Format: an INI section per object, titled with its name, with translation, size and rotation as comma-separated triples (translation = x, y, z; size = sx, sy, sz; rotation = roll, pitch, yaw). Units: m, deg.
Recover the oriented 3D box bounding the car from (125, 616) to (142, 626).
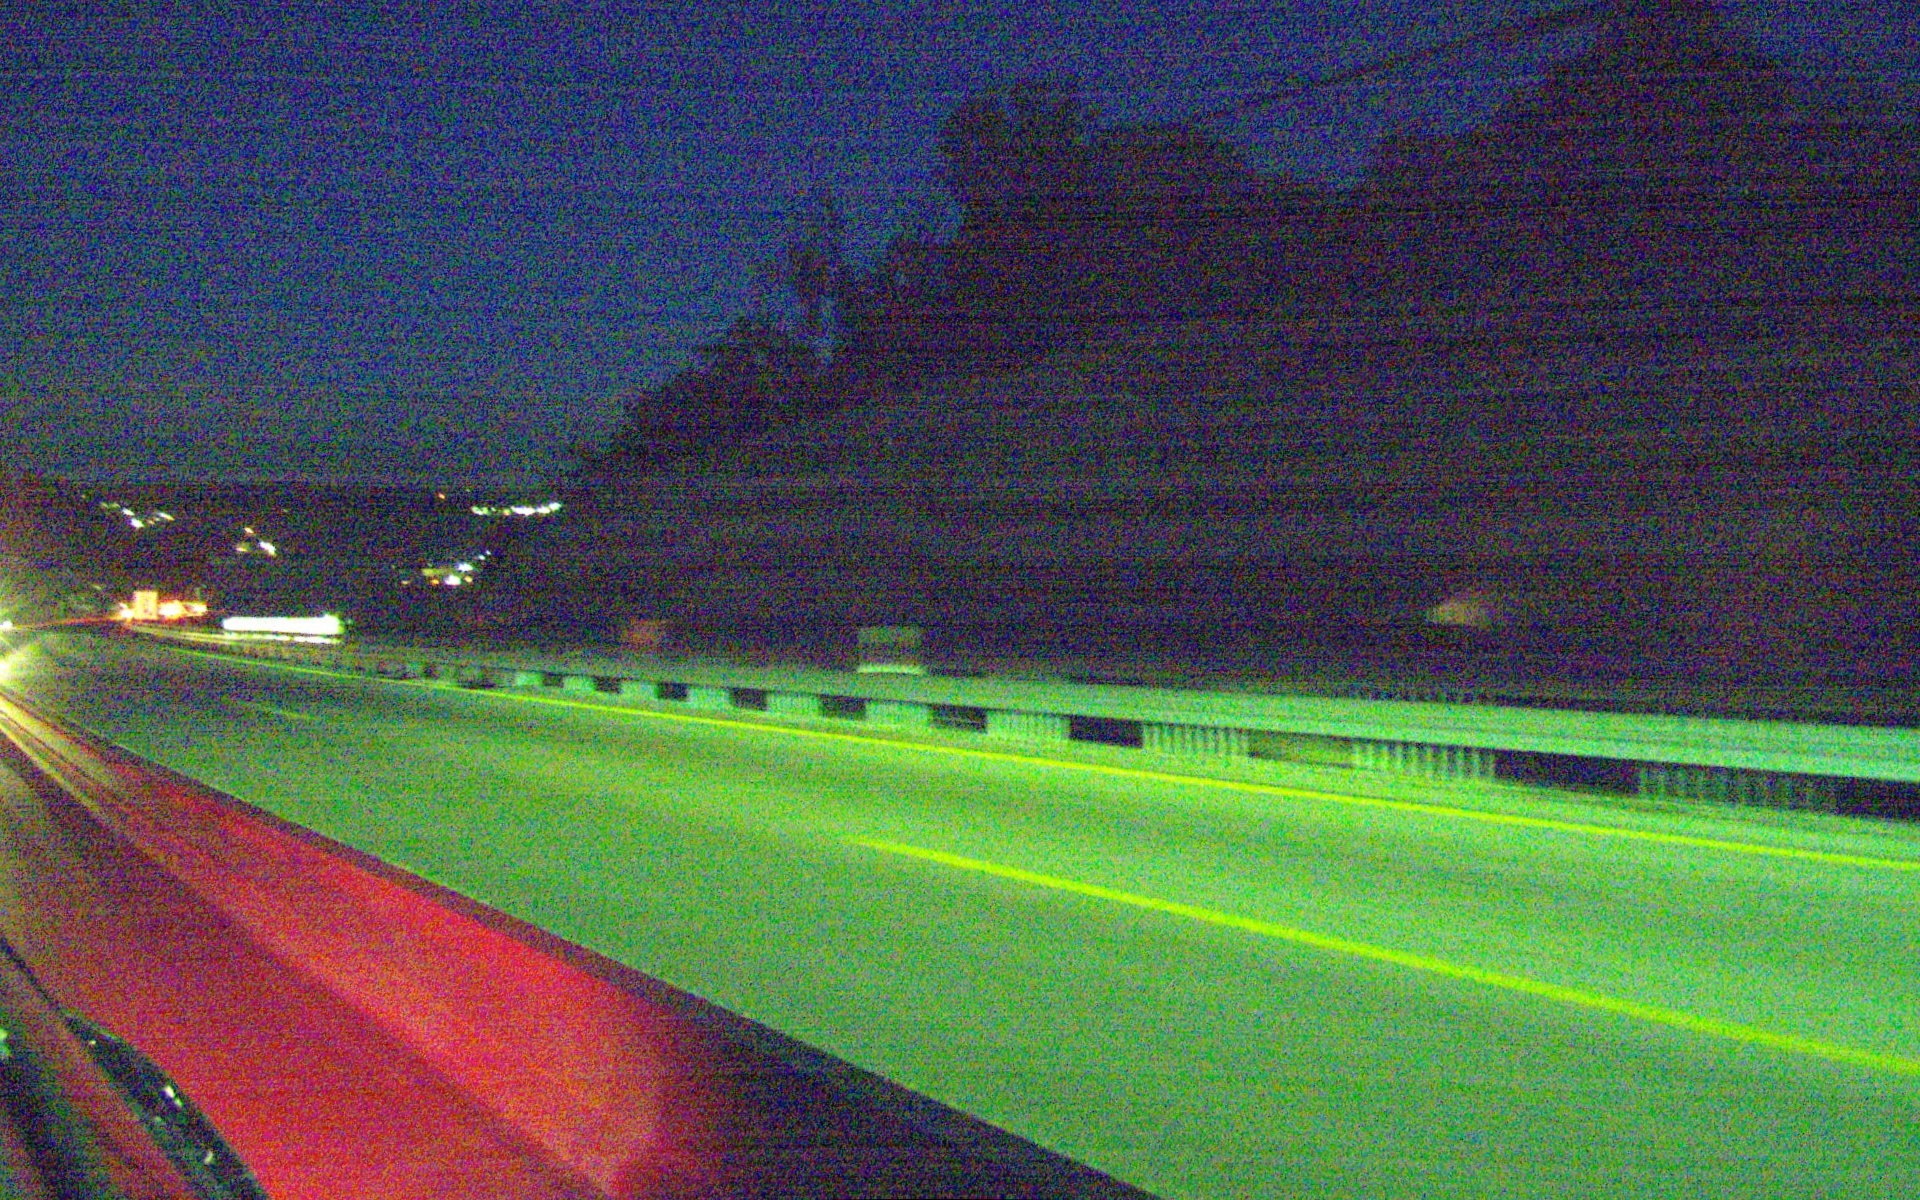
[car]
translation = -135.213, 3.386, 165.493
size = 1.783, 1.529, 3.945
rotation = 0, -2, -34
